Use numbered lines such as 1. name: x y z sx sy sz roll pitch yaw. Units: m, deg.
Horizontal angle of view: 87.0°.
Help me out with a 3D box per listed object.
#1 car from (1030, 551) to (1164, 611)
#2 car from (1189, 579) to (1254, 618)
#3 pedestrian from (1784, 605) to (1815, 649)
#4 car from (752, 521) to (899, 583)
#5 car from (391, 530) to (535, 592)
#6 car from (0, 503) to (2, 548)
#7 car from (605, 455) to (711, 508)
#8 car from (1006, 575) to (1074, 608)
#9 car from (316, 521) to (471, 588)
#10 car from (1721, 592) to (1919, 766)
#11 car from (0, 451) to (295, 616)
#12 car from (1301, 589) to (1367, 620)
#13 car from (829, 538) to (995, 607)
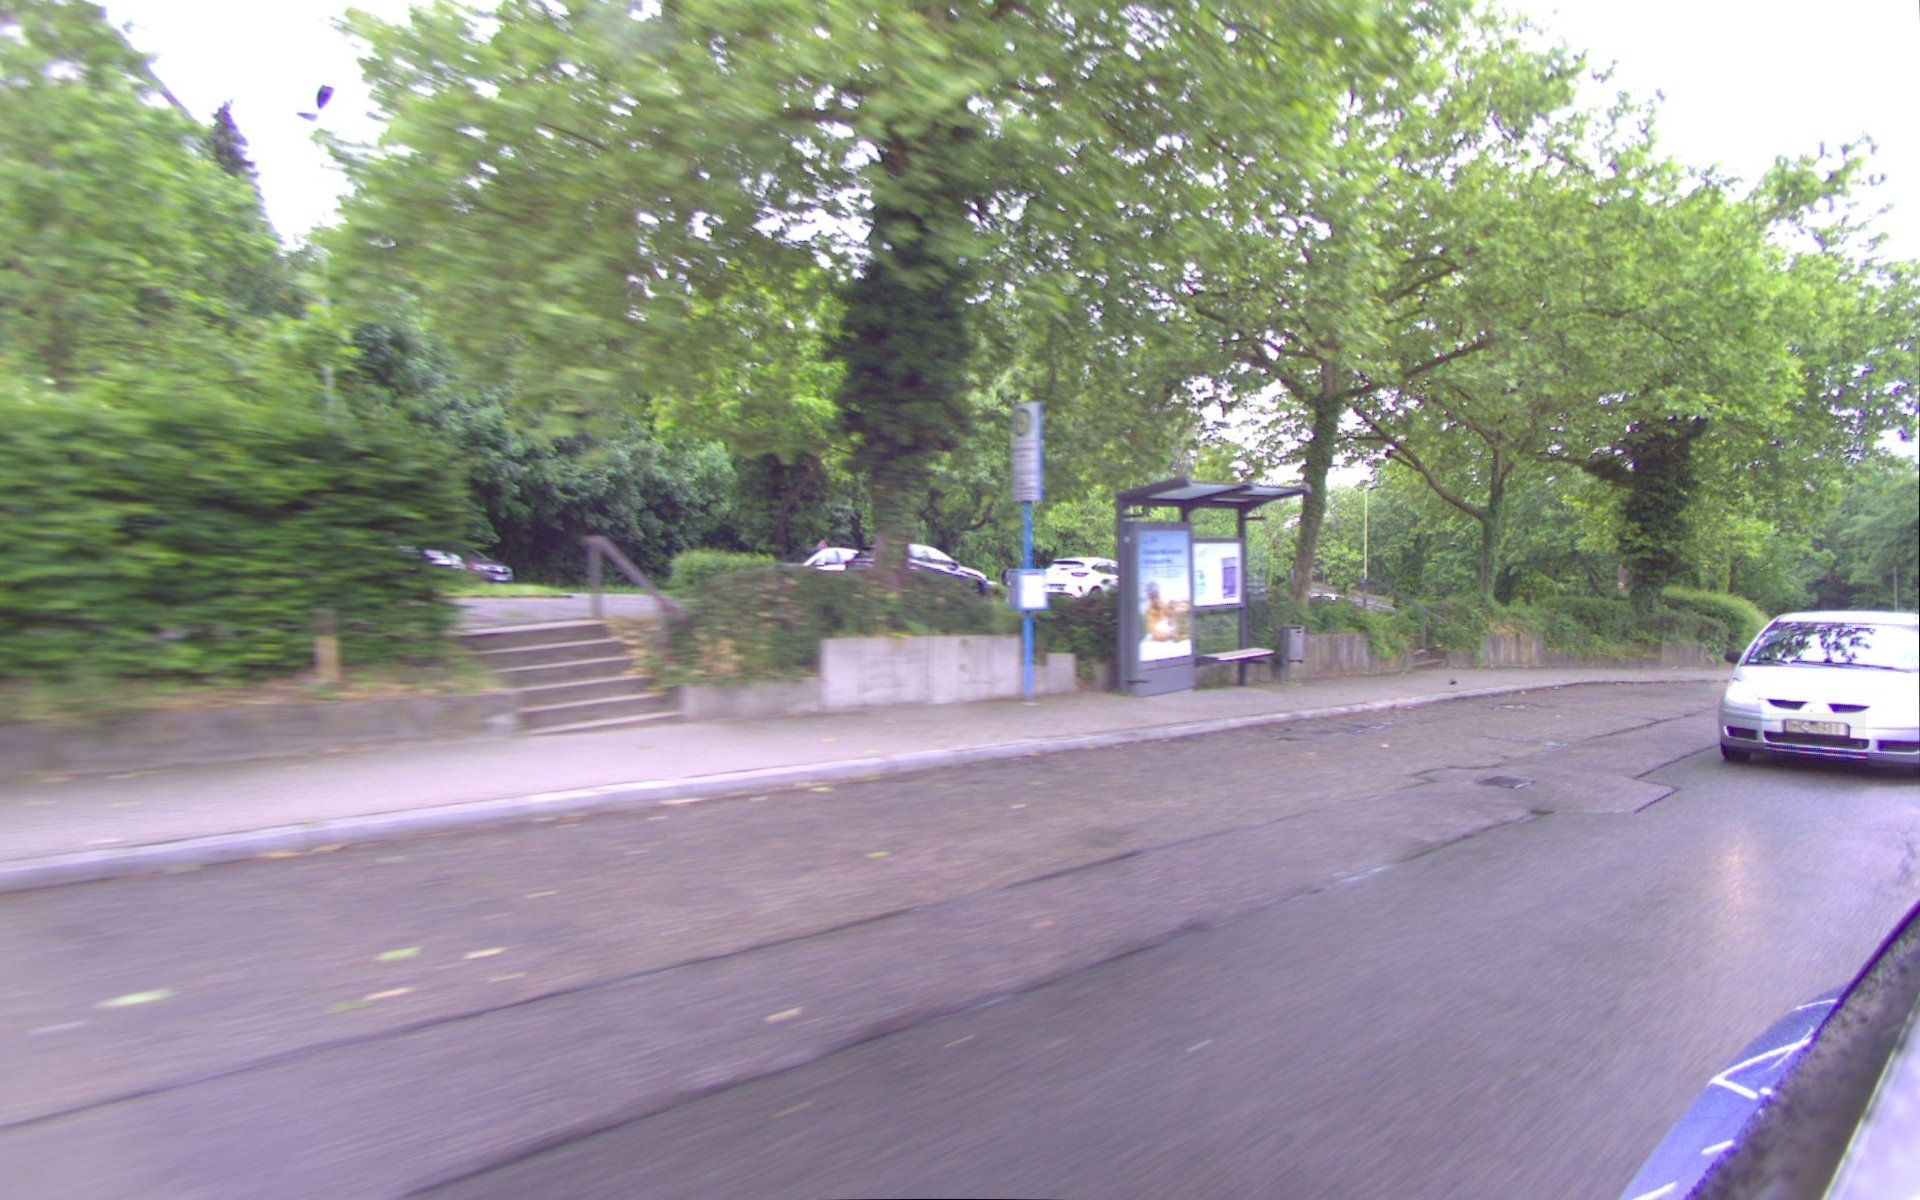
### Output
1. car: 4.087 -0.497 29.801 1.893 1.472 4.105 -2 -4 43
2. car: 14.939 -0.046 57.694 1.702 2.040 4.284 -2 -4 44
3. pedestrian: 37.303 1.181 44.993 1.049 1.917 1.117 0 -1 40
4. car: -3.977 -1.382 30.434 1.895 1.472 4.103 -2 -4 45
5. car: -16.044 -1.226 32.674 4.127 1.793 1.791 0 -3 20
6. car: -21.193 -1.100 19.753 4.122 1.687 1.793 0 -3 17
7. car: -12.939 -5.048 43.401 4.127 1.793 1.791 0 -3 20
8. car: 4.252 -0.432 53.606 1.702 1.543 3.570 -2 -3 44
9. car: -17.049 -1.326 30.465 4.127 1.793 1.791 0 -3 20
10. car: 9.525 0.783 10.630 3.929 1.525 1.638 3 -4 -41
11. car: -10.174 -0.687 11.435 1.819 1.604 4.105 -2 -4 43
12. car: 19.918 0.292 53.841 1.893 1.472 4.105 -2 -4 43
13. car: -1.173 -0.649 26.197 1.895 1.472 4.103 -2 -4 45
